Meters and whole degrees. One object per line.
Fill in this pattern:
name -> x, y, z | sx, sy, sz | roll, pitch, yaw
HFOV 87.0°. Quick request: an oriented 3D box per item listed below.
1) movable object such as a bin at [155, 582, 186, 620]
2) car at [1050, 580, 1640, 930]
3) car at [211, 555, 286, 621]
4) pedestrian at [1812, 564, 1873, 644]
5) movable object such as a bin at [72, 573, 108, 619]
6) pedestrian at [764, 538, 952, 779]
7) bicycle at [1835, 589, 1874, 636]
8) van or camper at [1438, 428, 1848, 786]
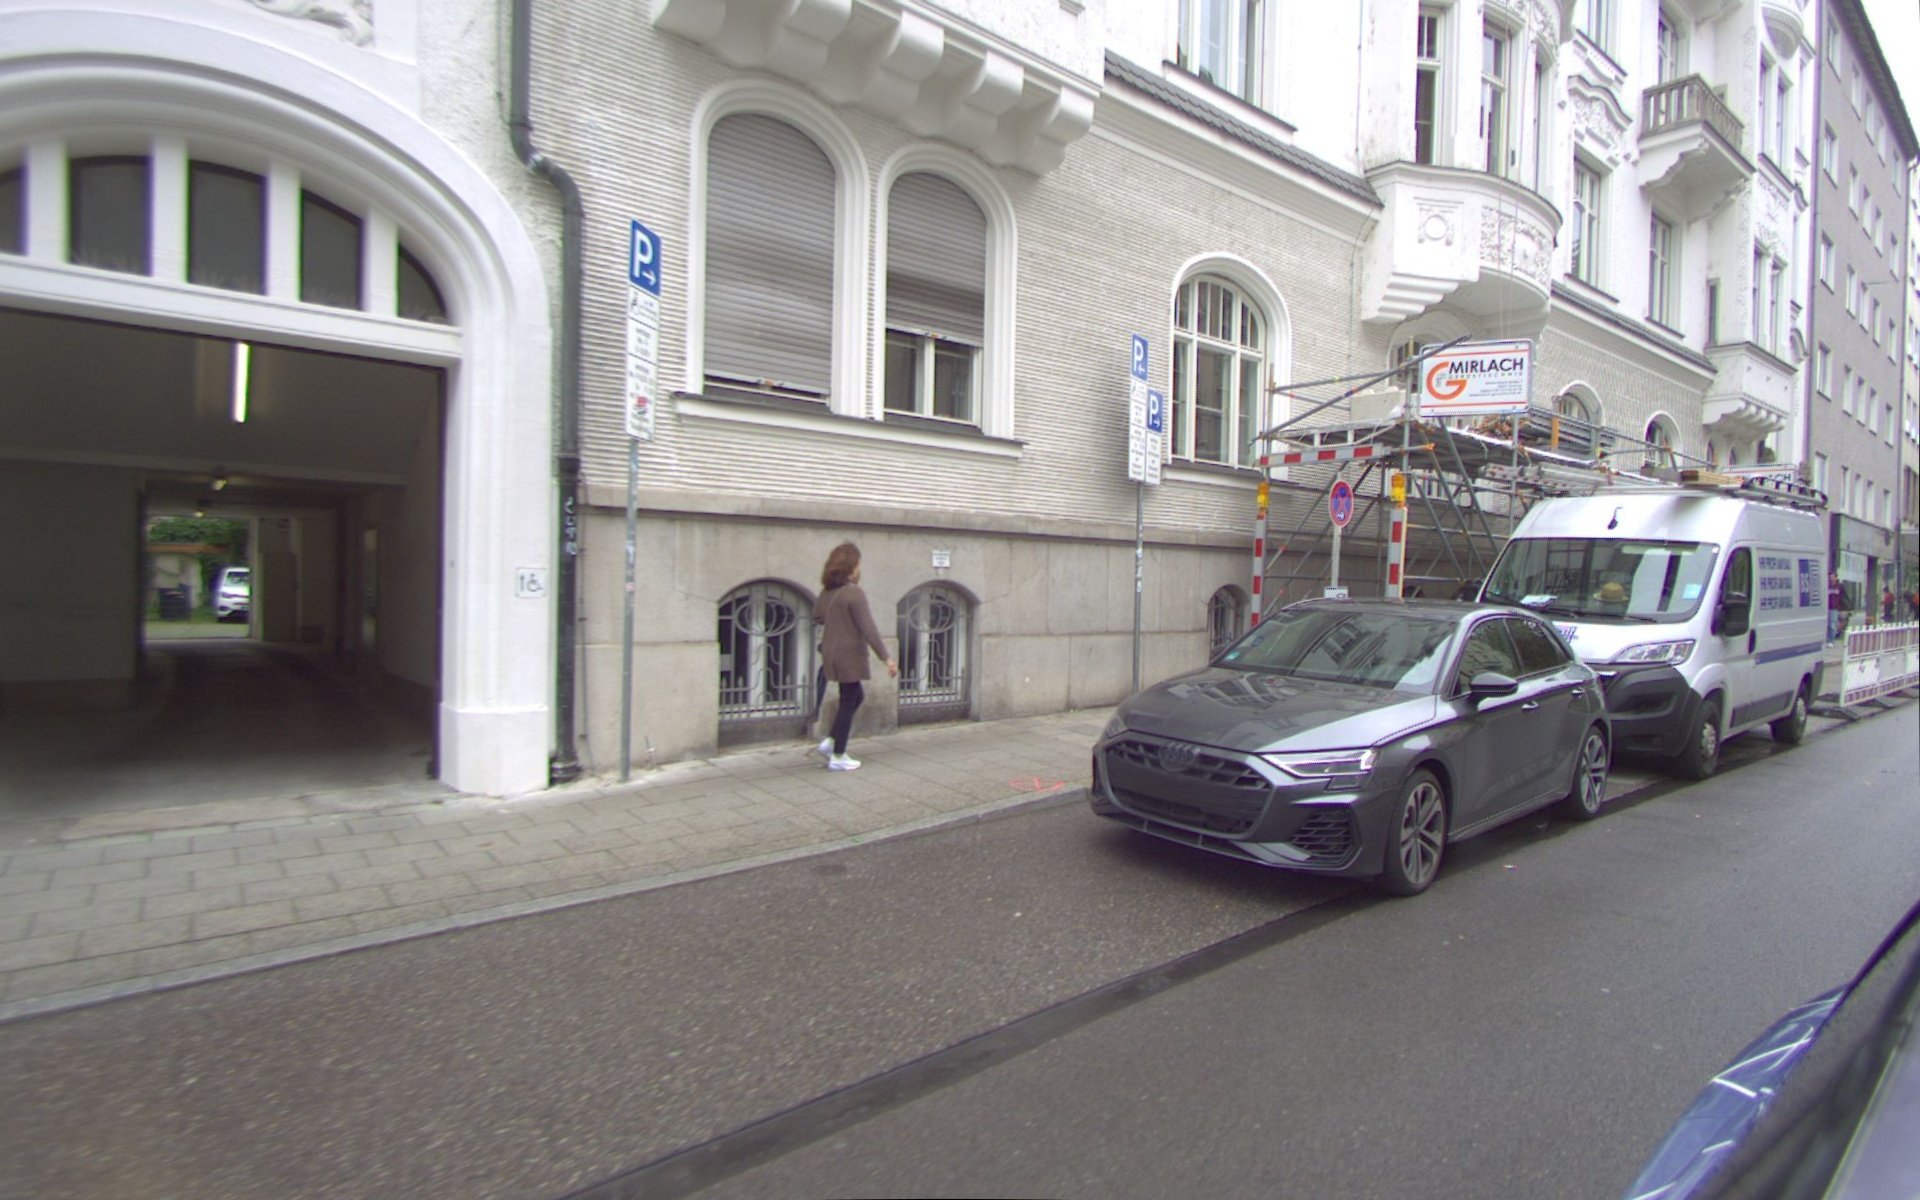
movable object such as a bin -> -24.988, 0.027, 32.055 | 0.759, 1.157, 1.328 | 0, 1, -38
car -> 2.584, 0.637, 6.288 | 4.016, 1.452, 1.757 | 0, 2, -42
car -> -23.754, -0.433, 33.719 | 1.853, 2.038, 4.784 | 0, 2, -37
pedestrian -> 22.539, 0.088, 25.849 | 1.158, 1.933, 0.929 | 0, 3, -41
movable object such as a bin -> -26.807, -0.148, 31.196 | 0.759, 1.370, 1.328 | 0, 1, -38
pedestrian -> -0.745, 0.349, 7.311 | 0.999, 1.573, 0.923 | -2, 5, -40
bicycle -> 26.123, 0.351, 29.542 | 1.788, 1.275, 0.513 | 0, 5, -41
van or camper -> 6.976, 0.011, 10.048 | 5.362, 2.669, 1.958 | 0, 2, -40
